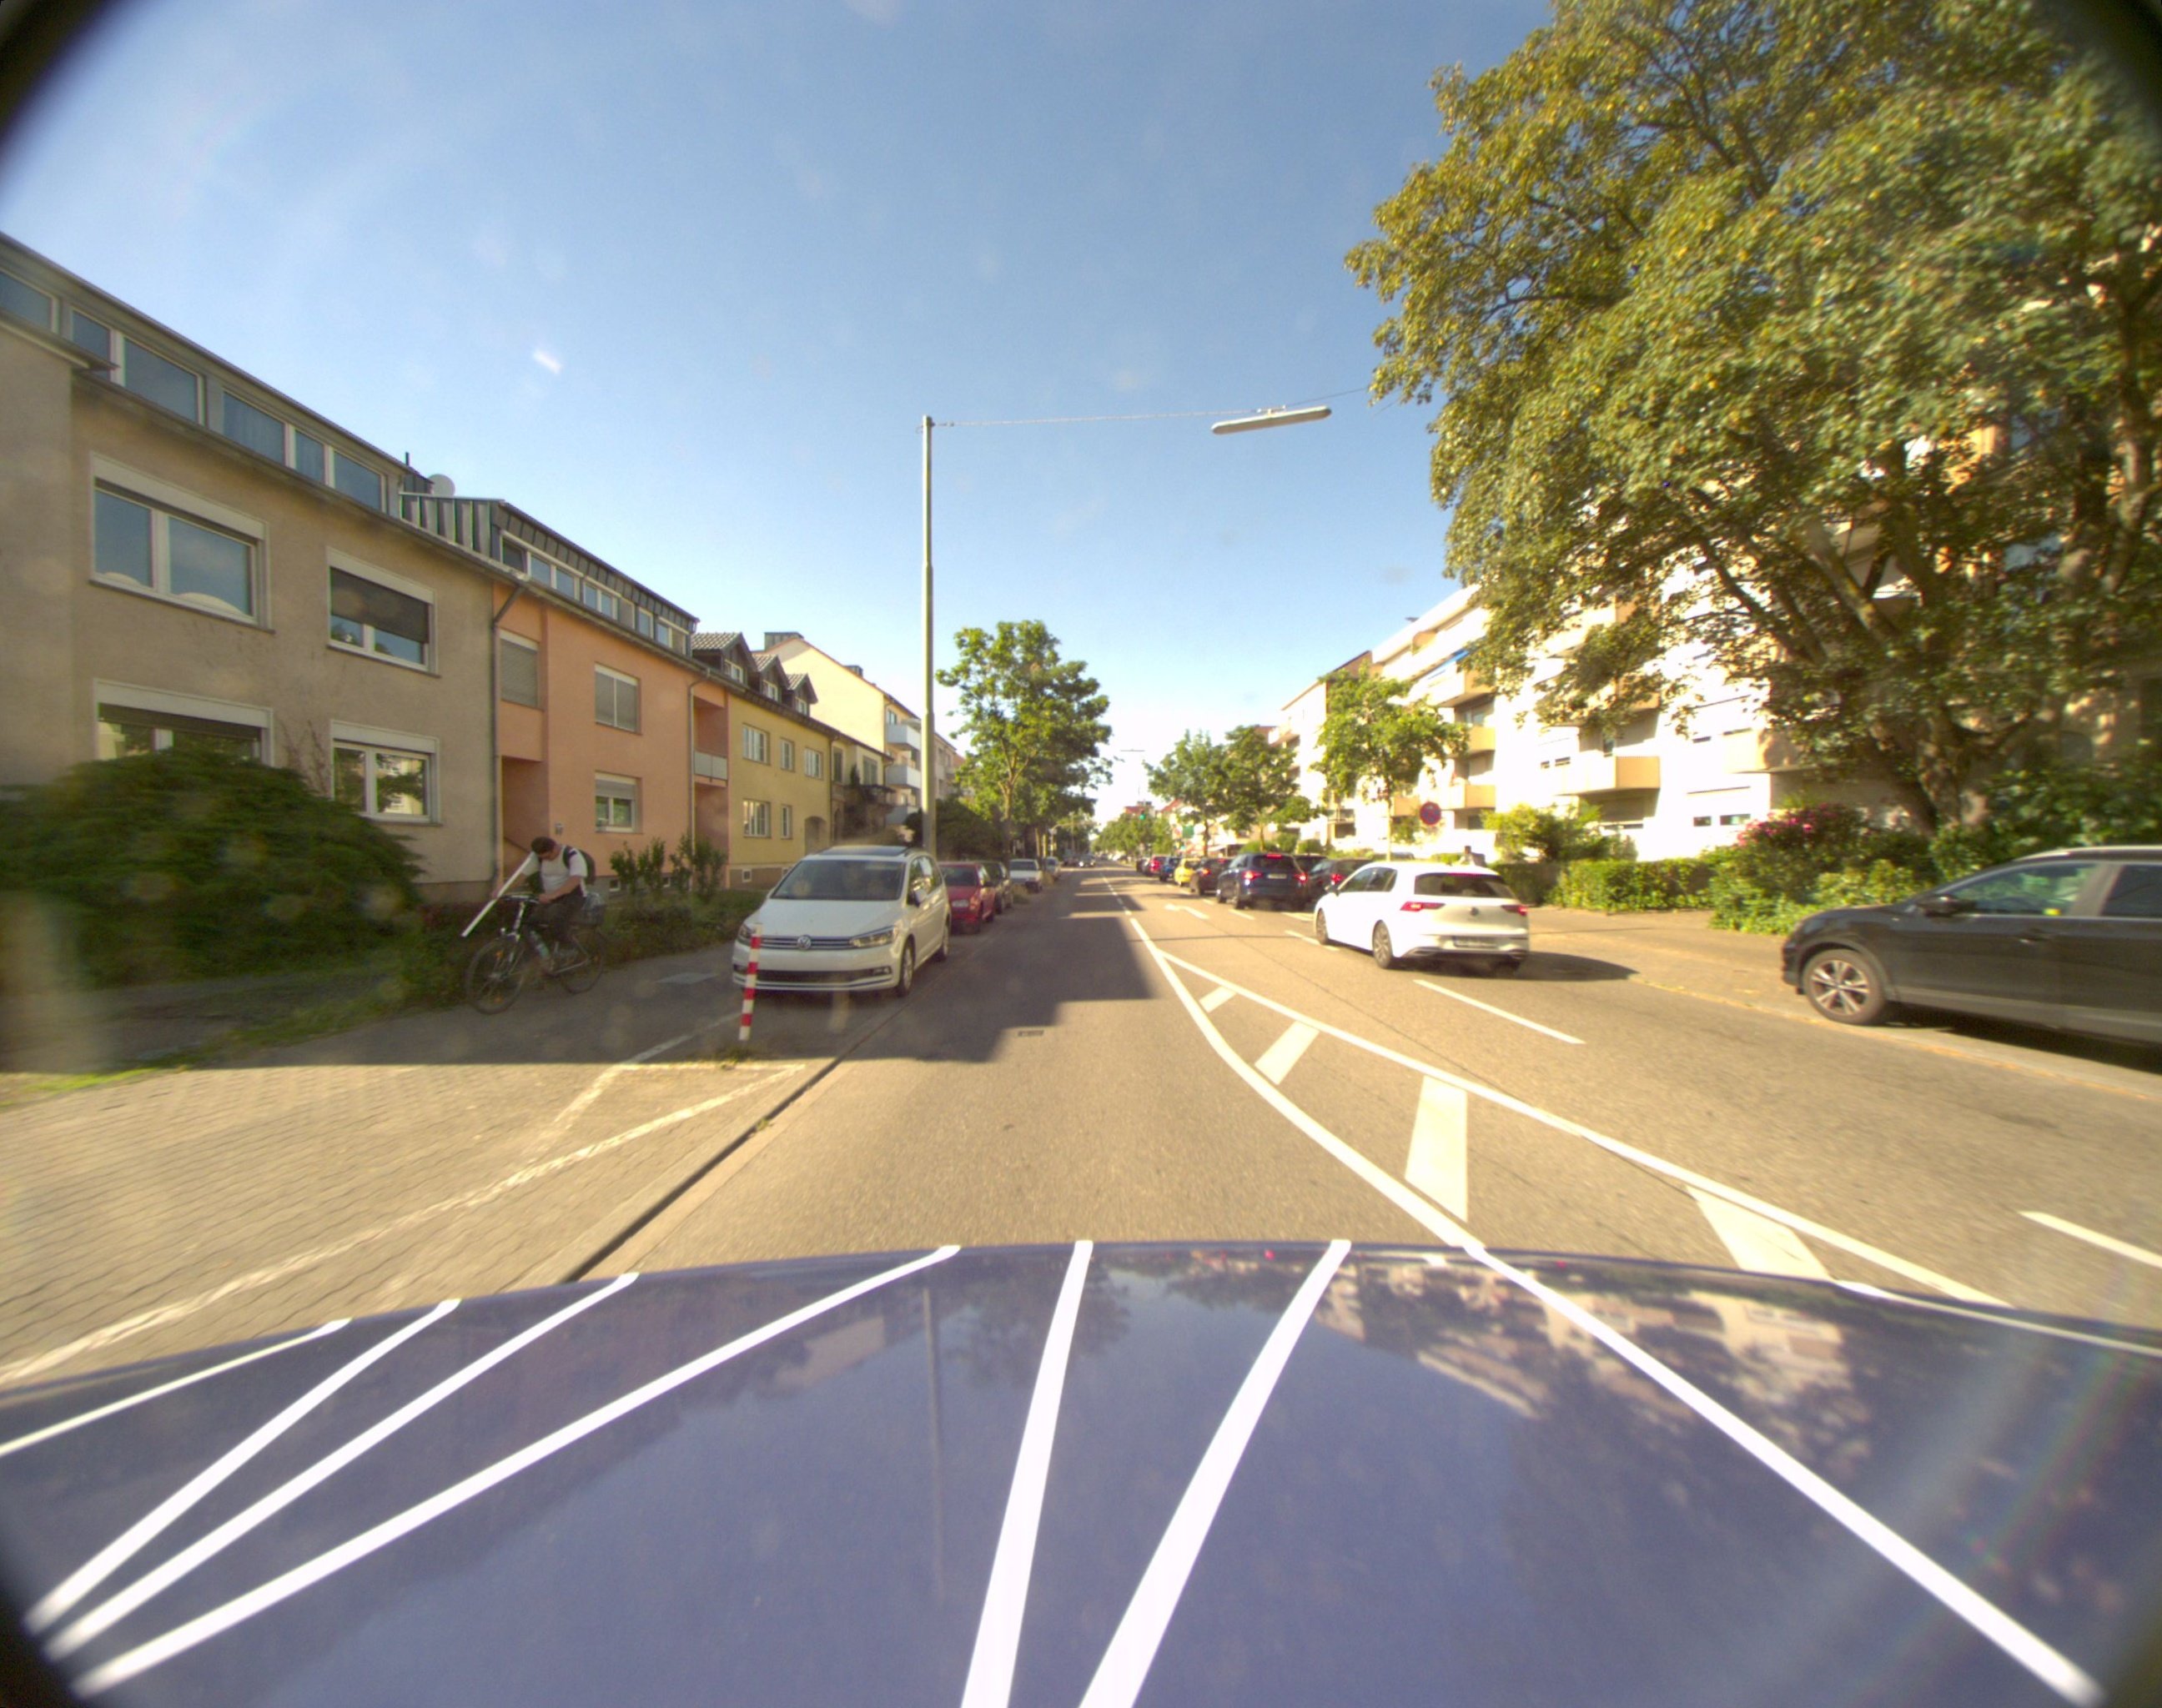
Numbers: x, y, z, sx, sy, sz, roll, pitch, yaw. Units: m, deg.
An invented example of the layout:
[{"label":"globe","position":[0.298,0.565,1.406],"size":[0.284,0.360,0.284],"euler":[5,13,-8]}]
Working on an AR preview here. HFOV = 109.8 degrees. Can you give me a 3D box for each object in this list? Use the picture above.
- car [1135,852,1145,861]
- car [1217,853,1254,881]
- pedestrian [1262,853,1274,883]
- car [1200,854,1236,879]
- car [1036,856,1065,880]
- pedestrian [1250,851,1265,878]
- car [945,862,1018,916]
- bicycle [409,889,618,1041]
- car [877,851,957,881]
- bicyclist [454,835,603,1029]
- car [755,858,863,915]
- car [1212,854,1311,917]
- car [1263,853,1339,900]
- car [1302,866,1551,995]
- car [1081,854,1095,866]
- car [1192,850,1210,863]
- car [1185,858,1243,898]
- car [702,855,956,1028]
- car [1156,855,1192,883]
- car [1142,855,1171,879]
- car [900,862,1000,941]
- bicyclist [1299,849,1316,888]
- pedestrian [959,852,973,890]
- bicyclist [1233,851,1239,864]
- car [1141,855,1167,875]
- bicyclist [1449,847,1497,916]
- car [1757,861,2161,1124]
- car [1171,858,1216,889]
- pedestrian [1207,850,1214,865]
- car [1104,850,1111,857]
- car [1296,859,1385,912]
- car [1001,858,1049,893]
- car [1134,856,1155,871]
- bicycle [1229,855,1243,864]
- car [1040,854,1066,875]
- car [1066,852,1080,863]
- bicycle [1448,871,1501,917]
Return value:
[{"label":"car","position":[9.201,0.417,119.122],"size":[1.322,1.348,3.093],"euler":[0,0,1]},{"label":"car","position":[8.558,0.695,42.326],"size":[1.404,1.480,3.686],"euler":[-1,0,2]},{"label":"pedestrian","position":[10.272,0.774,41.838],"size":[0.470,1.641,0.719],"euler":[-1,1,1]},{"label":"car","position":[8.481,0.764,47.344],"size":[1.508,1.467,3.896],"euler":[-1,0,0]},{"label":"car","position":[-1.990,0.892,50.135],"size":[1.570,1.448,3.866],"euler":[1,0,3]},{"label":"pedestrian","position":[11.225,0.686,48.318],"size":[0.671,1.677,0.929],"euler":[-1,1,0]},{"label":"car","position":[-2.745,0.923,21.587],"size":[1.535,1.348,3.718],"euler":[0,0,1]},{"label":"bicycle","position":[-5.526,1.011,7.567],"size":[0.699,1.239,1.822],"euler":[1,0,1]},{"label":"car","position":[-9.090,0.651,42.412],"size":[3.997,1.432,1.831],"euler":[3,0,1]},{"label":"bicyclist","position":[-5.432,0.721,7.533],"size":[0.726,1.783,1.015],"euler":[1,1,1]},{"label":"car","position":[-7.303,0.819,20.733],"size":[1.535,1.348,3.718],"euler":[2,0,1]},{"label":"car","position":[5.174,0.839,22.422],"size":[1.841,1.604,4.400],"euler":[2,0,0]},{"label":"car","position":[8.293,0.781,28.999],"size":[1.674,1.596,4.394],"euler":[-1,0,1]},{"label":"car","position":[4.724,0.951,11.143],"size":[1.737,1.404,4.192],"euler":[2,0,1]},{"label":"car","position":[0.867,0.685,92.264],"size":[1.654,1.348,4.304],"euler":[0,0,1]},{"label":"car","position":[15.107,0.311,95.764],"size":[1.764,1.613,4.304],"euler":[0,0,1]},{"label":"car","position":[5.220,0.913,30.222],"size":[1.585,1.443,3.744],"euler":[0,0,-1]},{"label":"car","position":[-2.793,0.847,9.518],"size":[1.773,1.649,4.340],"euler":[1,0,-1]},{"label":"car","position":[5.564,0.856,45.846],"size":[1.660,1.508,4.076],"euler":[2,0,1]},{"label":"car","position":[5.401,0.887,55.059],"size":[1.726,1.607,4.300],"euler":[2,0,2]},{"label":"car","position":[-2.684,0.921,16.281],"size":[1.536,1.441,3.717],"euler":[0,0,-1]},{"label":"bicyclist","position":[10.427,0.656,35.003],"size":[0.610,1.744,0.691],"euler":[0,1,1]},{"label":"pedestrian","position":[-5.112,0.759,33.768],"size":[0.539,1.667,0.493],"euler":[1,1,1]},{"label":"bicyclist","position":[18.154,0.411,88.984],"size":[0.685,1.598,0.578],"euler":[0,1,-1]},{"label":"car","position":[6.030,0.895,63.305],"size":[1.818,1.456,4.778],"euler":[2,0,1]},{"label":"bicyclist","position":[10.392,0.714,20.174],"size":[0.584,1.756,1.208],"euler":[-3,0,0]},{"label":"car","position":[7.636,0.893,5.469],"size":[1.629,1.579,4.347],"euler":[-2,0,0]},{"label":"car","position":[5.590,0.931,38.153],"size":[1.639,1.395,3.735],"euler":[1,0,-1]},{"label":"pedestrian","position":[14.286,0.337,83.602],"size":[0.659,1.649,0.682],"euler":[0,1,2]},{"label":"car","position":[7.803,-0.076,224.720],"size":[1.965,1.910,5.496],"euler":[0,0,1]},{"label":"car","position":[8.060,0.921,23.924],"size":[1.605,1.468,3.932],"euler":[-1,0,3]},{"label":"car","position":[-2.402,0.886,33.281],"size":[1.653,1.395,3.970],"euler":[1,0,2]},{"label":"car","position":[6.275,0.906,75.284],"size":[1.702,1.398,4.506],"euler":[2,0,0]},{"label":"bicycle","position":[18.172,0.671,89.007],"size":[1.565,1.070,0.449],"euler":[0,1,-1]},{"label":"car","position":[-2.080,0.779,57.810],"size":[1.743,1.473,4.196],"euler":[1,0,1]},{"label":"car","position":[-1.146,0.533,110.115],"size":[1.822,1.541,4.304],"euler":[0,0,1]},{"label":"bicycle","position":[10.413,1.048,20.177],"size":[0.450,1.109,1.765],"euler":[-3,0,0]}]
